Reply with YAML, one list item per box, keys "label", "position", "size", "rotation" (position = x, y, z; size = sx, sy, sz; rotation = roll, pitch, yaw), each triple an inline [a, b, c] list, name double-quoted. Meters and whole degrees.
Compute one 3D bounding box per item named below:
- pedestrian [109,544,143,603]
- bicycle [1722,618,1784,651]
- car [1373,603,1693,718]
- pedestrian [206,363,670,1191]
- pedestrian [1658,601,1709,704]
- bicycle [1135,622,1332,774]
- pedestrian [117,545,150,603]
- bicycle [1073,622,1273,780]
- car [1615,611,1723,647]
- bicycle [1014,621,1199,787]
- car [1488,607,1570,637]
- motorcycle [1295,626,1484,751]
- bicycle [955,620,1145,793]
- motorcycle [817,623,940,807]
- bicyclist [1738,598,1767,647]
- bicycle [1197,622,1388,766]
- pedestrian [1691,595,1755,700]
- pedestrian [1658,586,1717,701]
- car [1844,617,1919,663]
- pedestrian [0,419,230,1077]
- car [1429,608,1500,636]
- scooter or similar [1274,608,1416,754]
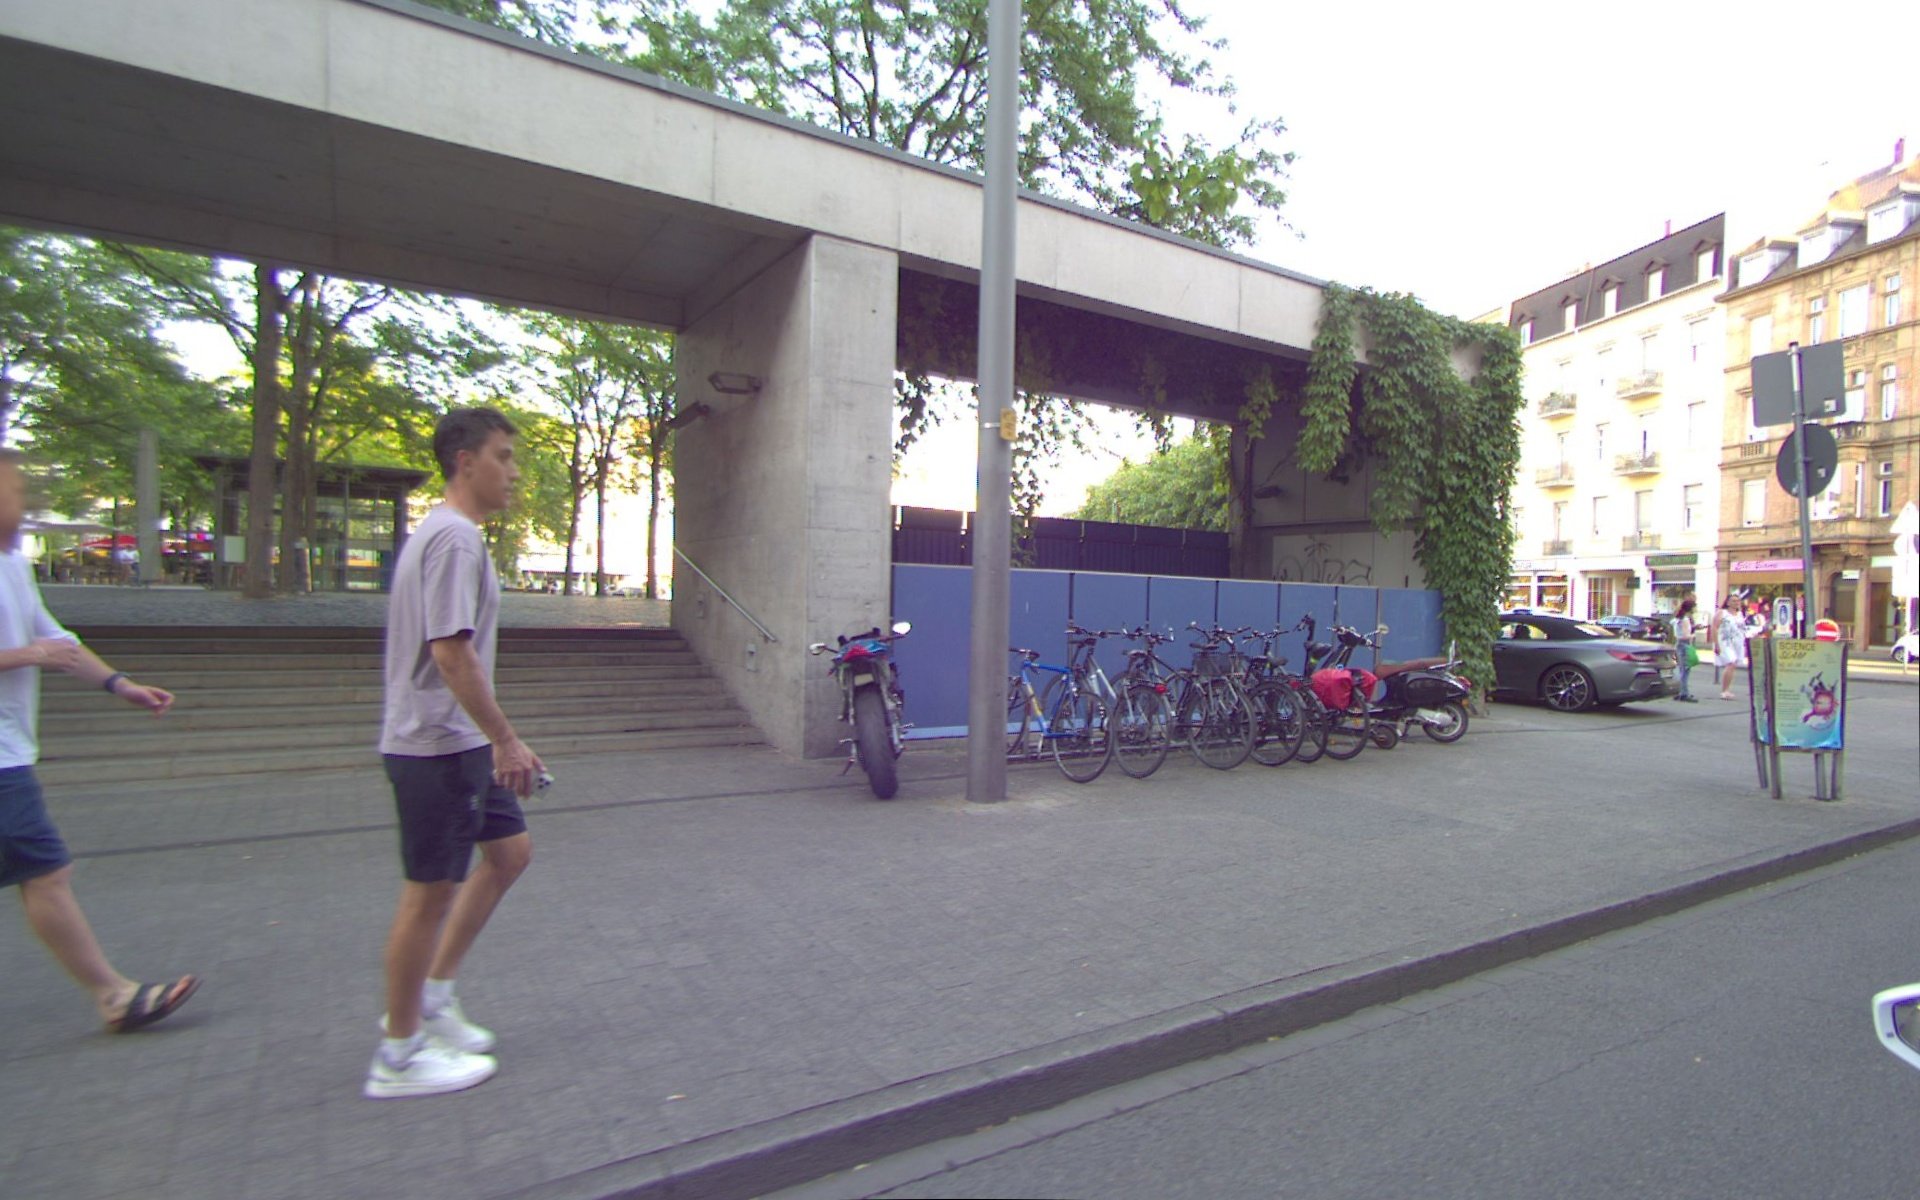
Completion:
- label: "pedestrian"
  position: [-33.938, -1.069, 40.893]
  size: [0.726, 2.362, 0.815]
  rotation: [1, 0, -9]
- label: "bicycle"
  position: [29.537, 1.287, 37.442]
  size: [0.529, 1.122, 1.793]
  rotation: [1, 1, -16]
- label: "car"
  position: [8.808, 0.832, 15.696]
  size: [1.875, 1.521, 3.954]
  rotation: [1, 0, -39]
- label: "pedestrian"
  position: [-1.475, 0.414, 2.905]
  size: [1.038, 1.919, 0.740]
  rotation: [1, 2, -31]
- label: "pedestrian"
  position: [11.886, 0.851, 16.514]
  size: [0.514, 1.665, 0.498]
  rotation: [1, 0, -30]
- label: "bicycle"
  position: [2.389, 0.816, 9.002]
  size: [0.495, 1.122, 1.783]
  rotation: [1, 2, -34]
- label: "pedestrian"
  position: [-34.328, -1.073, 41.733]
  size: [0.726, 2.362, 0.815]
  rotation: [1, 0, -9]
- label: "bicycle"
  position: [1.781, 0.805, 8.663]
  size: [0.495, 1.122, 1.781]
  rotation: [1, 2, -36]
- label: "car"
  position: [32.325, 1.297, 45.929]
  size: [1.767, 1.530, 3.994]
  rotation: [2, 0, -9]
- label: "bicycle"
  position: [1.145, 0.786, 8.284]
  size: [0.494, 1.122, 1.786]
  rotation: [1, 2, -29]
- label: "car"
  position: [30.532, 1.159, 54.030]
  size: [1.767, 1.530, 3.994]
  rotation: [2, 0, -9]
- label: "motorcycle"
  position: [4.451, 0.886, 10.471]
  size: [1.718, 1.116, 0.566]
  rotation: [3, 2, 25]
- label: "bicycle"
  position: [0.651, 0.772, 7.966]
  size: [0.494, 1.122, 1.784]
  rotation: [1, 2, -32]
- label: "motorcycle"
  position: [-0.607, 0.760, 7.309]
  size: [0.750, 1.078, 1.804]
  rotation: [2, 1, -6]
- label: "bicyclist"
  position: [29.549, 0.832, 37.444]
  size: [0.517, 1.780, 0.617]
  rotation: [1, 1, -17]
- label: "bicycle"
  position: [3.078, 0.828, 9.495]
  size: [0.494, 1.122, 1.784]
  rotation: [1, 2, -31]
- label: "pedestrian"
  position: [13.152, 0.799, 17.325]
  size: [0.644, 1.769, 0.674]
  rotation: [1, 0, 15]
- label: "pedestrian"
  position: [12.377, 0.720, 17.092]
  size: [0.625, 1.907, 0.581]
  rotation: [1, 0, -26]
- label: "car"
  position: [33.618, 1.421, 35.018]
  size: [1.767, 1.530, 3.994]
  rotation: [2, 0, -9]
- label: "pedestrian"
  position: [-2.890, 0.402, 3.069]
  size: [0.998, 1.837, 0.737]
  rotation: [1, 3, -32]
- label: "car"
  position: [29.915, 1.269, 59.664]
  size: [1.767, 1.530, 3.994]
  rotation: [2, 0, -9]
- label: "scooter or similar"
  position: [3.768, 0.759, 9.889]
  size: [1.191, 1.291, 0.419]
  rotation: [4, 2, 43]
